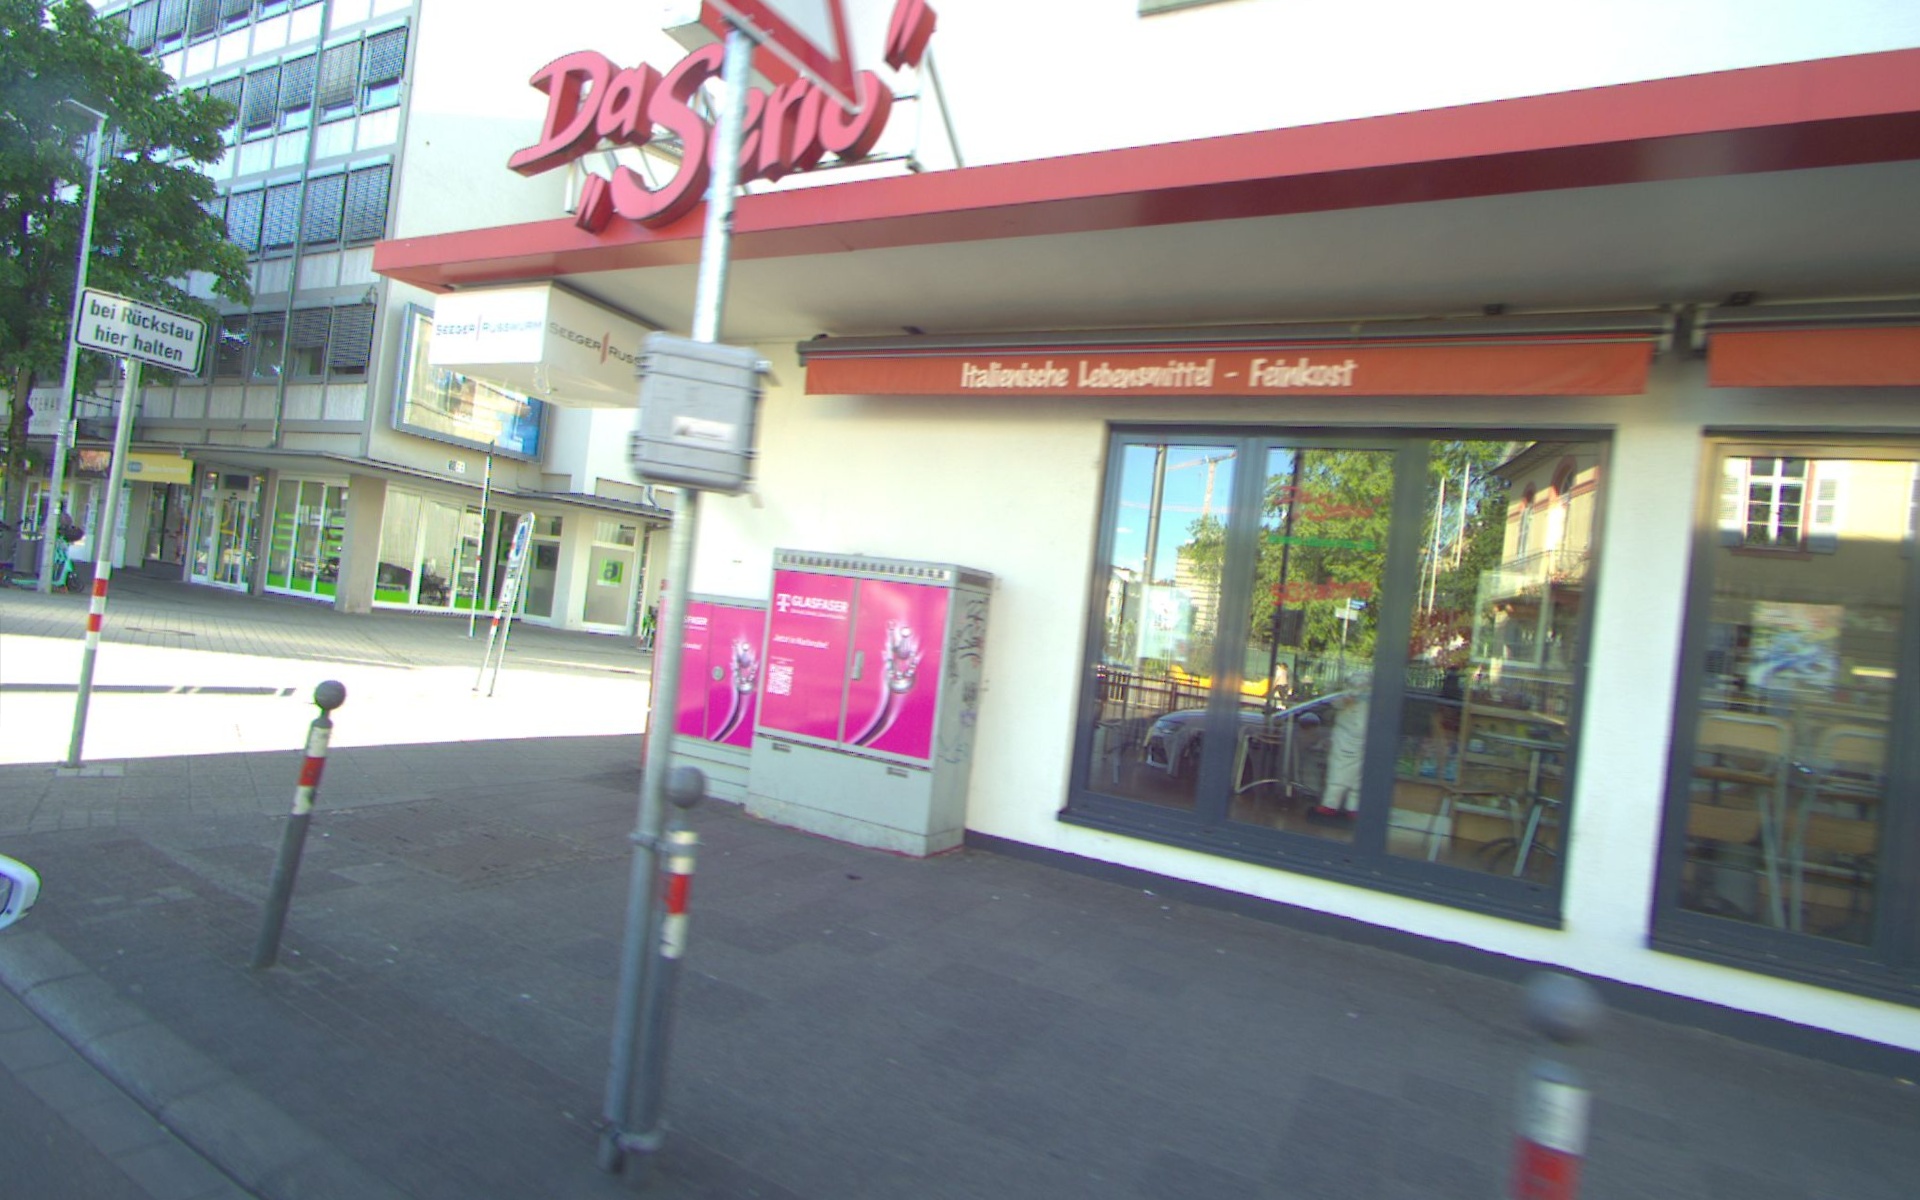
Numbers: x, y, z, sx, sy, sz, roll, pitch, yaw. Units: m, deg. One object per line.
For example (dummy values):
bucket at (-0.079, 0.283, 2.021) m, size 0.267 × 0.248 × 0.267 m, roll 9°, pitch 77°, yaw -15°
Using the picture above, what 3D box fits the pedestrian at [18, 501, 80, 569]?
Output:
pedestrian at (-23.878, -1.709, 26.379) m, size 0.865 × 1.621 × 0.844 m, roll 6°, pitch -1°, yaw 30°

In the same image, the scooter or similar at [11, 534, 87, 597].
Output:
scooter or similar at (-17.113, -0.637, 18.912) m, size 0.157 × 1.056 × 0.965 m, roll 7°, pitch -1°, yaw 33°

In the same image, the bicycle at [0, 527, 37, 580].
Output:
bicycle at (-20.748, -1.037, 21.219) m, size 0.392 × 1.069 × 1.856 m, roll 6°, pitch 0°, yaw 20°

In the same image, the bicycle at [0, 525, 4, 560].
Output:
bicycle at (-22.449, -1.279, 22.253) m, size 0.451 × 1.069 × 1.768 m, roll 6°, pitch -2°, yaw 36°

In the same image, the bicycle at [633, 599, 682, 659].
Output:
bicycle at (-7.205, 0.678, 23.935) m, size 0.439 × 1.174 × 1.485 m, roll 8°, pitch 2°, yaw -40°

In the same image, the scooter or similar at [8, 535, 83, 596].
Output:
scooter or similar at (-17.277, -0.640, 19.019) m, size 0.157 × 1.051 × 0.957 m, roll 7°, pitch -1°, yaw 33°

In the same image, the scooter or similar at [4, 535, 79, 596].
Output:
scooter or similar at (-17.443, -0.646, 19.126) m, size 0.157 × 1.039 × 0.965 m, roll 7°, pitch -1°, yaw 33°

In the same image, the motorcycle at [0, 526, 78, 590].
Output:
motorcycle at (-19.008, -0.875, 20.211) m, size 0.495 × 1.142 × 1.792 m, roll 6°, pitch -2°, yaw 28°

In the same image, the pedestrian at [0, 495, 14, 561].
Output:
pedestrian at (-26.041, -1.985, 26.815) m, size 0.865 × 1.727 × 0.844 m, roll 6°, pitch -1°, yaw 30°
